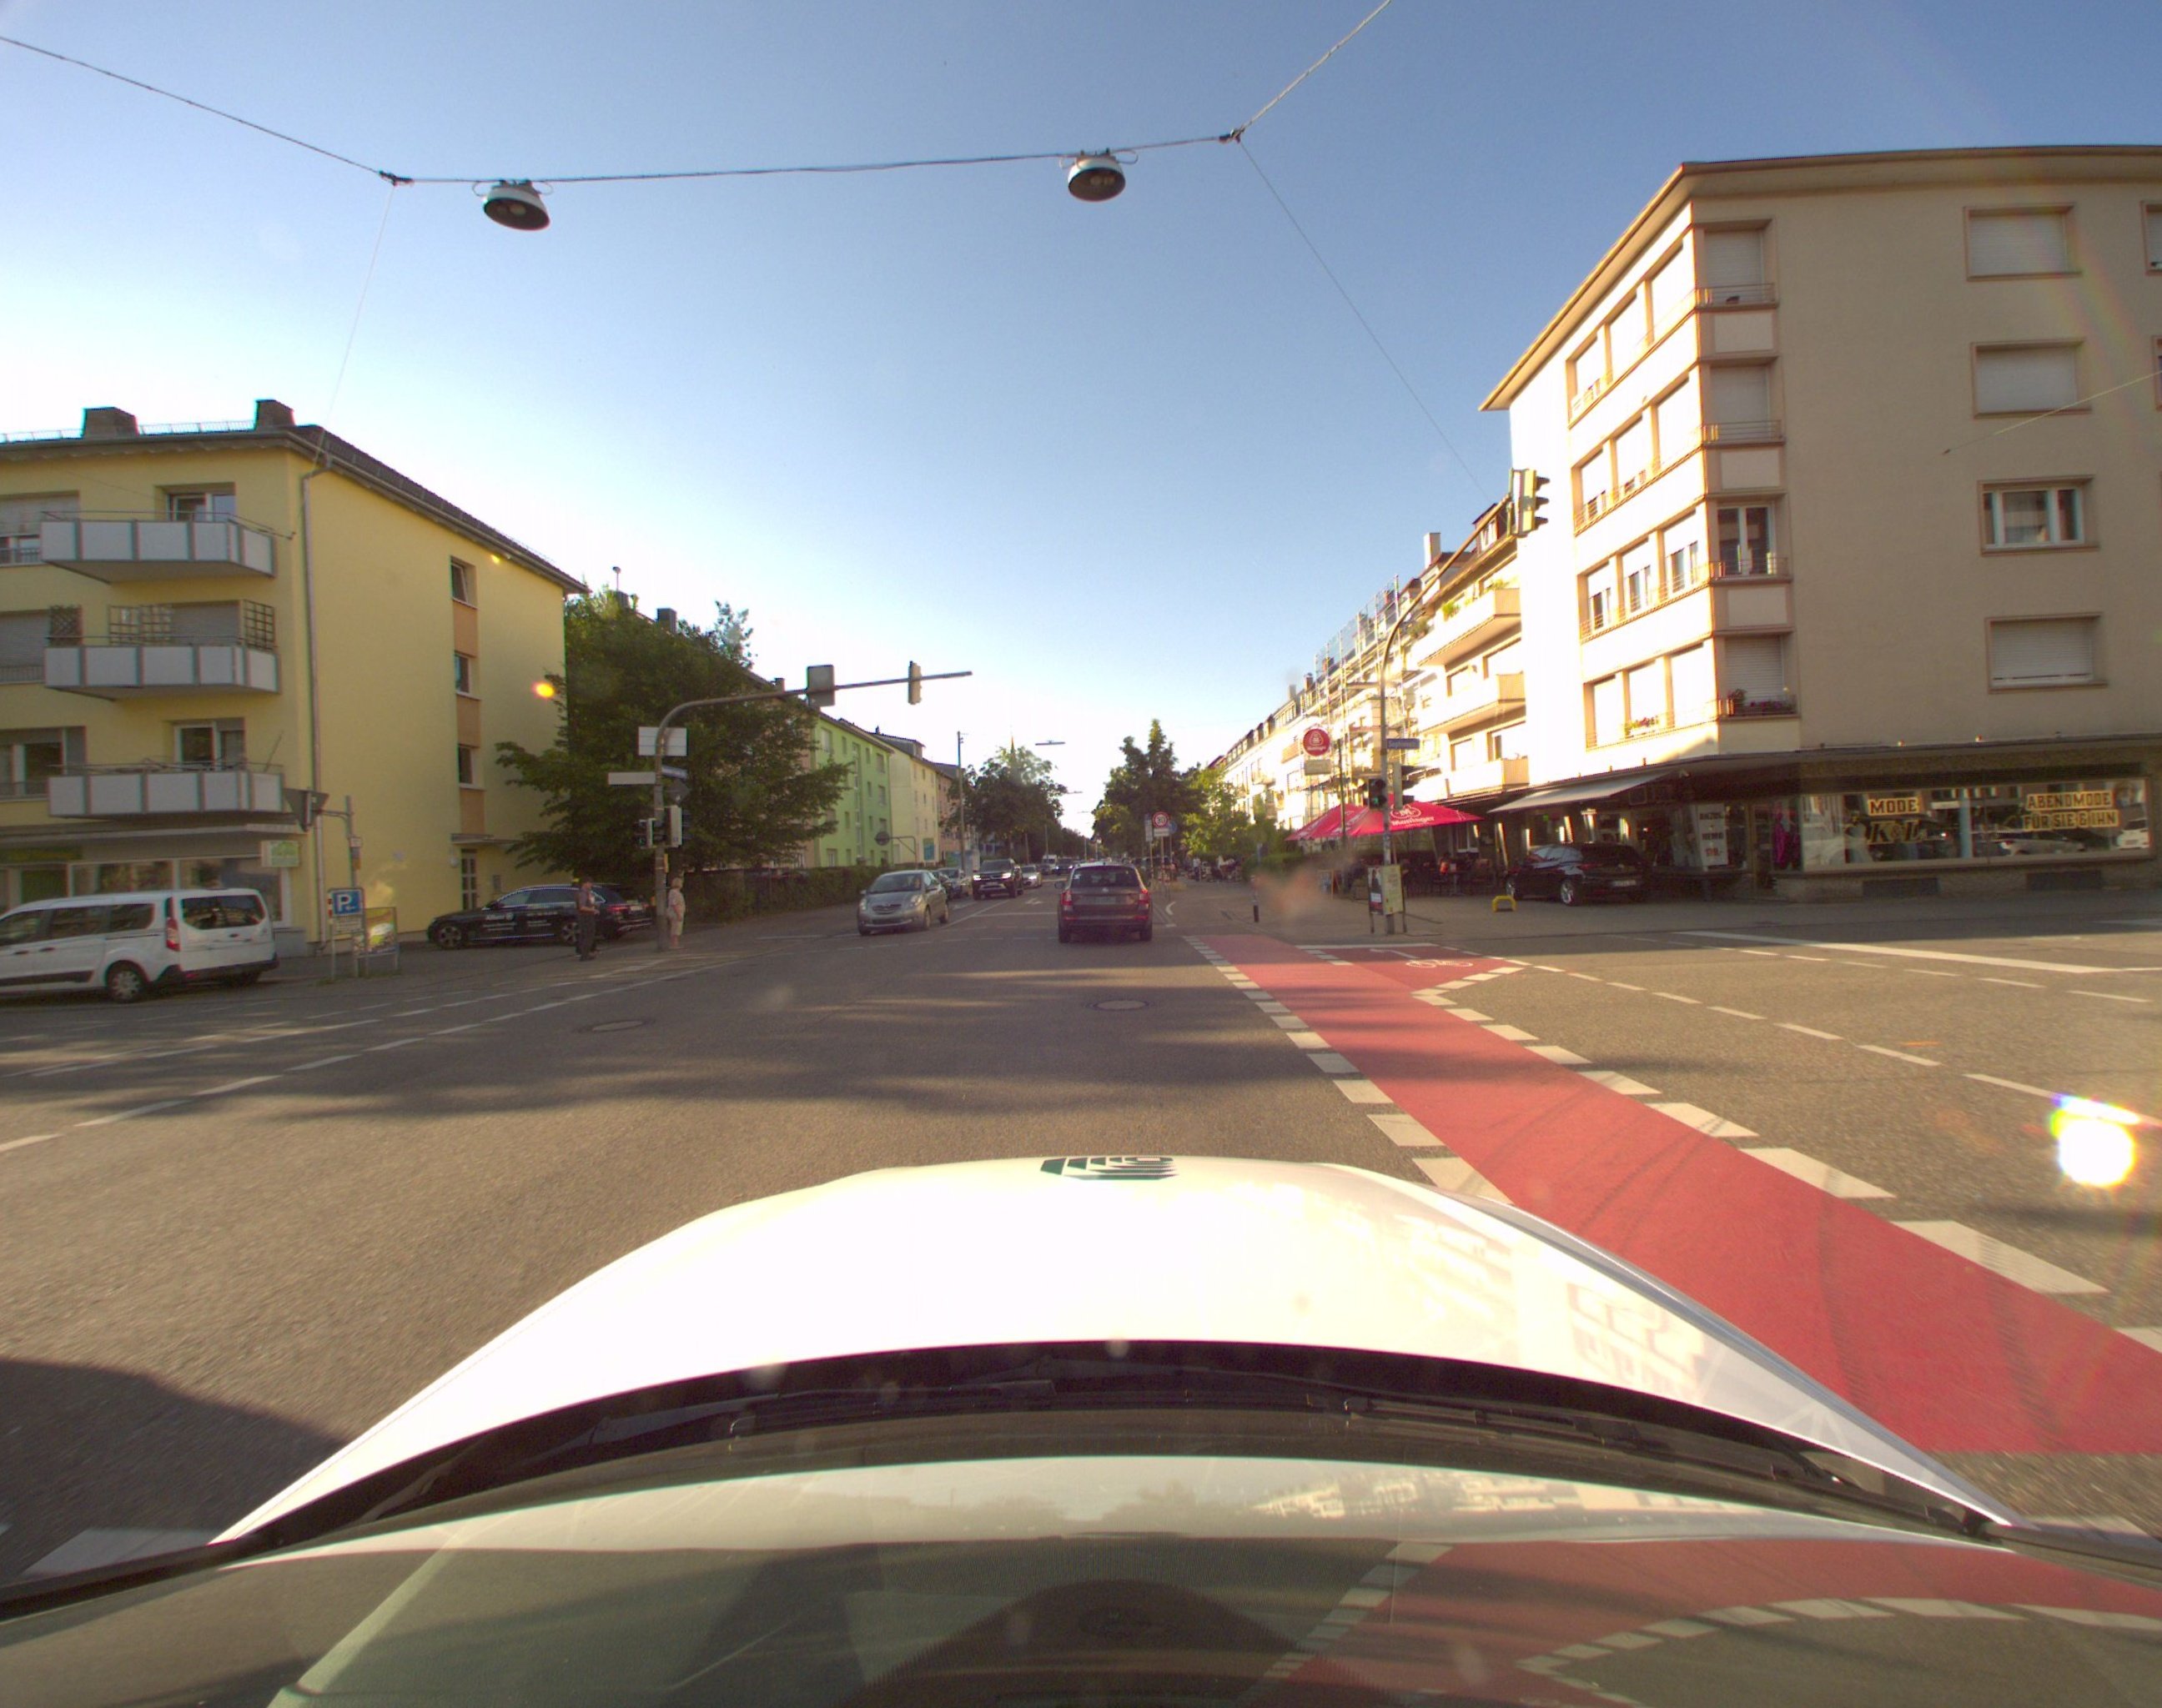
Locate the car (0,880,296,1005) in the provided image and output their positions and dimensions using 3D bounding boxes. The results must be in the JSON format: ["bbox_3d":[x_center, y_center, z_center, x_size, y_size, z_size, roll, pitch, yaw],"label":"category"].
[{"bbox_3d":[-16.815,1.493,14.152,4.457,1.848,1.908,-3,-1,1],"label":"car"}]

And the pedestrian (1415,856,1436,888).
[{"bbox_3d":[11.511,0.594,27.194,0.521,1.049,0.414,-2,-1,7],"label":"pedestrian"}]

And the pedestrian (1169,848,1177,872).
[{"bbox_3d":[6.994,0.459,61.812,0.545,1.849,0.766,-2,-1,8],"label":"pedestrian"}]

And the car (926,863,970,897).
[{"bbox_3d":[-6.695,1.255,41.276,1.632,1.552,3.784,-3,0,-1],"label":"car"}]

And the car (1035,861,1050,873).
[{"bbox_3d":[-4.728,1.636,101.400,1.606,1.473,3.813,-1,0,1],"label":"car"}]

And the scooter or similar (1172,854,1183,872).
[{"bbox_3d":[7.332,0.706,61.768,0.742,1.317,0.722,-2,-1,8],"label":"scooter or similar"}]

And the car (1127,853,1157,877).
[{"bbox_3d":[4.405,0.794,59.304,1.717,1.655,4.595,-2,0,-1],"label":"car"}]

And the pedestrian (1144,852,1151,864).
[{"bbox_3d":[9.886,0.584,121.707,0.793,1.861,0.954,-3,-1,12],"label":"pedestrian"}]

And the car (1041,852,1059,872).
[{"bbox_3d":[-4.283,1.049,112.667,1.986,2.616,7.106,-1,0,1],"label":"car"}]

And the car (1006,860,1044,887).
[{"bbox_3d":[-3.451,1.195,50.815,1.830,1.473,4.673,-4,0,2],"label":"car"}]

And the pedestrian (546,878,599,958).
[{"bbox_3d":[-10.732,1.321,17.197,0.601,1.630,0.754,0,-2,38],"label":"pedestrian"}]

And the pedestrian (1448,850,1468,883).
[{"bbox_3d":[13.540,0.454,29.265,0.521,1.189,0.414,-2,-2,7],"label":"pedestrian"}]

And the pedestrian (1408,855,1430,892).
[{"bbox_3d":[10.676,0.606,25.727,0.521,1.150,0.414,-2,-1,7],"label":"pedestrian"}]

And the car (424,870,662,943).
[{"bbox_3d":[-13.178,1.265,20.160,4.578,1.614,1.842,-1,0,-2],"label":"car"}]

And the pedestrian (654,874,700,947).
[{"bbox_3d":[-9.072,1.249,18.320,0.605,1.594,0.749,1,-2,-1],"label":"pedestrian"}]

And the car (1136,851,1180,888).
[{"bbox_3d":[3.731,0.722,40.074,1.786,1.632,4.029,-2,0,1],"label":"car"}]

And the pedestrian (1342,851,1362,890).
[{"bbox_3d":[8.183,0.489,24.628,0.410,1.150,0.632,-2,-1,5],"label":"pedestrian"}]

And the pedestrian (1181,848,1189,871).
[{"bbox_3d":[7.924,0.397,62.116,0.509,1.697,0.526,-2,-1,-3],"label":"pedestrian"}]

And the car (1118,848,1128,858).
[{"bbox_3d":[7.719,-0.221,148.550,1.747,1.686,4.256,-1,0,3],"label":"car"}]

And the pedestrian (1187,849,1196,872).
[{"bbox_3d":[8.340,0.473,61.304,0.509,1.697,0.526,-2,-1,-3],"label":"pedestrian"}]

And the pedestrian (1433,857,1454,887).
[{"bbox_3d":[12.061,0.603,27.107,0.521,0.991,0.414,-2,-1,7],"label":"pedestrian"}]

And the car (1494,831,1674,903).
[{"bbox_3d":[12.016,0.295,19.840,1.821,1.484,4.205,-3,-1,2],"label":"car"}]

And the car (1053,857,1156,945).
[{"bbox_3d":[0.518,0.815,15.977,1.747,1.492,4.003,-1,0,3],"label":"car"}]

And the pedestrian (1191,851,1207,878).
[{"bbox_3d":[6.817,0.604,47.110,0.557,1.568,0.744,-2,-1,-17],"label":"pedestrian"}]

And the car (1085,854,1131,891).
[{"bbox_3d":[1.142,0.798,35.609,1.885,1.506,3.790,1,-1,1],"label":"car"}]

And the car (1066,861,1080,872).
[{"bbox_3d":[-1.240,1.916,128.598,1.826,1.470,4.452,-5,0,1],"label":"car"}]

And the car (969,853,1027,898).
[{"bbox_3d":[-3.821,0.972,38.499,1.854,1.829,5.230,-4,-1,2],"label":"car"}]

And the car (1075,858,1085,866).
[{"bbox_3d":[-0.132,1.689,166.631,1.692,1.470,4.299,-4,0,4],"label":"car"}]

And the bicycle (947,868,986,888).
[{"bbox_3d":[-6.231,1.306,44.405,1.997,1.089,0.584,1,-2,2],"label":"bicycle"}]

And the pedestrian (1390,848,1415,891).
[{"bbox_3d":[9.783,0.479,24.797,0.522,1.283,0.541,-2,-1,3],"label":"pedestrian"}]

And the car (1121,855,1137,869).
[{"bbox_3d":[5.847,0.987,99.713,1.712,1.601,4.097,-3,0,1],"label":"car"}]

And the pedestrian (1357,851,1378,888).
[{"bbox_3d":[8.986,0.484,25.570,0.483,1.150,0.526,-2,-1,5],"label":"pedestrian"}]

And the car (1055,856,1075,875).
[{"bbox_3d":[-1.806,1.291,93.763,1.986,1.946,4.779,-5,0,1],"label":"car"}]

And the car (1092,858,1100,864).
[{"bbox_3d":[4.096,1.942,224.269,1.990,1.750,3.994,-3,0,-4],"label":"car"}]

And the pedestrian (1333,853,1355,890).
[{"bbox_3d":[8.257,0.540,25.580,0.491,1.150,0.526,-2,-1,5],"label":"pedestrian"}]

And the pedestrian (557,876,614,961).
[{"bbox_3d":[-10.140,1.307,16.685,0.746,1.657,0.607,-2,-1,-6],"label":"pedestrian"}]

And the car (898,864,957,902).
[{"bbox_3d":[-6.803,1.240,36.404,1.647,1.479,3.946,-3,0,3],"label":"car"}]

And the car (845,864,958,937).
[{"bbox_3d":[-4.495,1.103,20.974,1.798,1.557,4.002,-4,-1,2],"label":"car"}]
